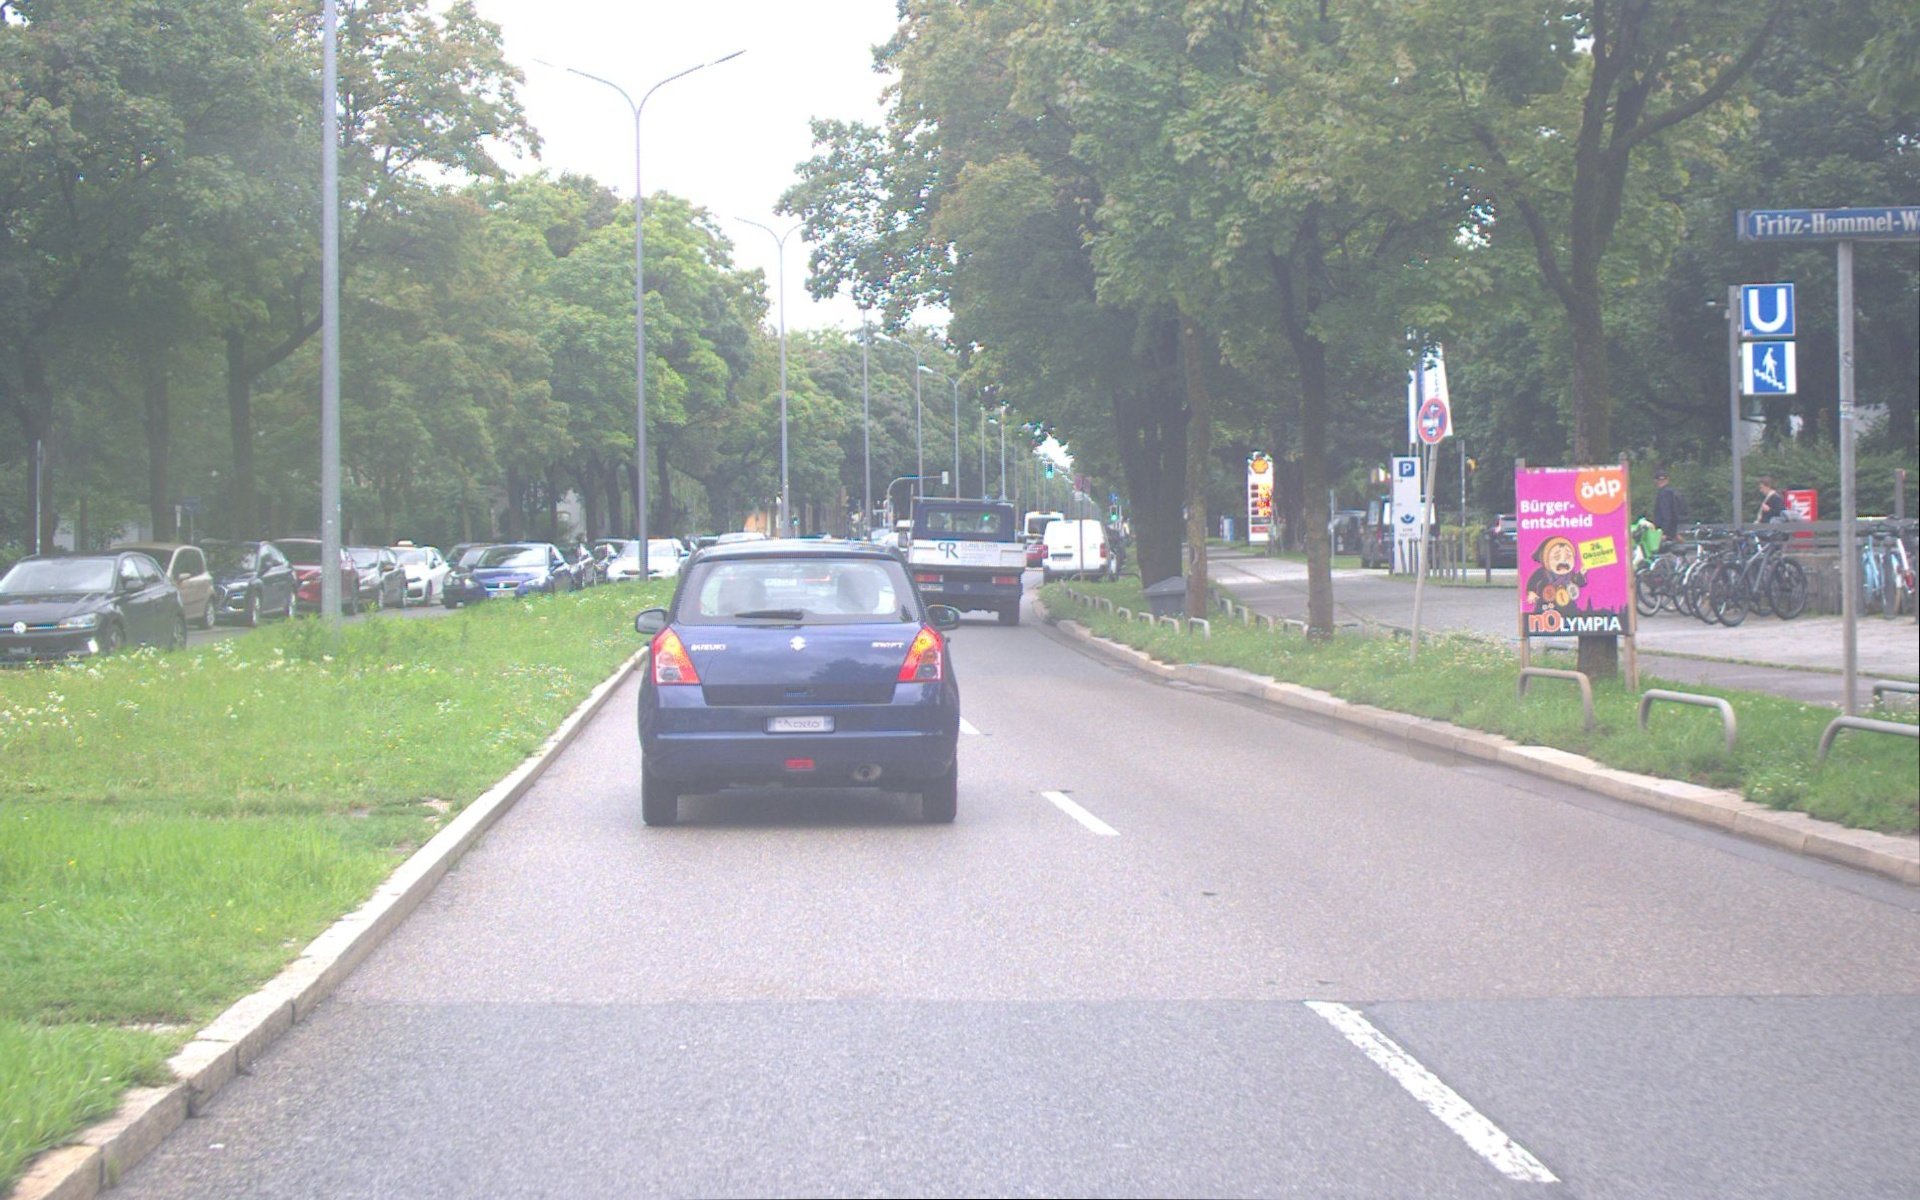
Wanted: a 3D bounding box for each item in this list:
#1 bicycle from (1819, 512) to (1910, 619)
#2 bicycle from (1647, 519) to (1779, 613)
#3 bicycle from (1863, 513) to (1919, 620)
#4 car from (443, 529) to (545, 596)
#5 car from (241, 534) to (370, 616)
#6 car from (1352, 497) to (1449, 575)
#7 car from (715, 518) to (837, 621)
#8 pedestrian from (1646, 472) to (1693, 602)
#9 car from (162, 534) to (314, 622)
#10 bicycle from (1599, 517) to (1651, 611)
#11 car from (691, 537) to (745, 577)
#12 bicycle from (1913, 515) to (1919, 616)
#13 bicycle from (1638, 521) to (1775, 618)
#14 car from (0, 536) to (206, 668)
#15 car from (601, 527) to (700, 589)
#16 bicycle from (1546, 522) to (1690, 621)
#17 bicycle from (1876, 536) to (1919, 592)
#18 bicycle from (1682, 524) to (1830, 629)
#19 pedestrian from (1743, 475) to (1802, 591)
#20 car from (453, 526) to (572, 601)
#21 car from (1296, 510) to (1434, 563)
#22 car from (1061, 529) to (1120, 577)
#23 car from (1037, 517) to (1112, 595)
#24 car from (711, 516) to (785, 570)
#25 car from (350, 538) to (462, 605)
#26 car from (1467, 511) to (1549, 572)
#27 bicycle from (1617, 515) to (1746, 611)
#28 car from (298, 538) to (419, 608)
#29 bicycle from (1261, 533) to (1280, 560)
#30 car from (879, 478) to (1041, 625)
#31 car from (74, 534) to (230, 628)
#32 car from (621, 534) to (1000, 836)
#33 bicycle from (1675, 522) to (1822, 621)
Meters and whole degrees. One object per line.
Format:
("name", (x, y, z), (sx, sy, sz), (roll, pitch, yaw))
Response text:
("bicycle", (10.334, -0.406, 39.329), (0.487, 1.185, 1.954), (-1, 1, 0))
("bicycle", (9.686, -0.439, 44.174), (1.949, 1.079, 0.597), (-5, 4, -42))
("bicycle", (10.855, -0.395, 39.347), (0.487, 1.185, 1.954), (-1, 1, 0))
("car", (-10.837, -0.892, 80.149), (1.691, 1.479, 3.967), (-1, 1, 2))
("car", (-13.853, -0.558, 73.023), (1.739, 1.646, 4.606), (1, 1, 1))
("car", (13.524, -1.981, 105.951), (2.265, 2.299, 6.268), (-1, 1, 1))
("car", (-2.879, -0.492, 53.308), (1.799, 1.494, 3.661), (-1, 1, -4))
("pedestrian", (10.492, -0.930, 50.824), (0.651, 1.893, 0.749), (-1, 1, 12))
("car", (-14.076, -0.456, 67.261), (1.739, 1.638, 4.684), (1, 1, 3))
("bicycle", (9.456, -0.524, 48.909), (0.530, 1.222, 1.861), (-3, 3, 7))
("car", (-10.083, -1.810, 143.448), (1.757, 1.589, 4.489), (2, 1, 2))
("bicycle", (11.437, -0.391, 39.339), (0.487, 1.185, 1.954), (-1, 1, 0))
("bicycle", (9.282, -0.382, 42.716), (1.949, 1.062, 0.580), (-5, 2, -42))
("car", (-10.001, -0.012, 39.292), (1.782, 1.401, 4.102), (-1, 1, 1))
("car", (-7.840, -1.086, 87.459), (1.915, 1.479, 4.865), (-1, 1, 2))
("bicycle", (8.814, -0.386, 46.027), (1.948, 1.185, 0.597), (-5, 3, -31))
("bicycle", (15.871, -0.607, 57.254), (0.682, 0.850, 1.835), (-1, 2, -2))
("bicycle", (9.329, -0.280, 40.231), (2.026, 1.095, 0.580), (-4, 1, -42))
("pedestrian", (12.090, -0.996, 51.172), (0.783, 1.708, 0.750), (-1, 1, 9))
("car", (-8.813, -0.746, 68.009), (1.691, 1.397, 3.967), (-1, 1, 2))
("car", (16.713, -2.616, 142.007), (5.470, 2.076, 2.147), (-1, 1, 2))
("car", (4.023, -1.442, 105.222), (1.702, 1.392, 4.232), (-1, 1, 3))
("car", (3.336, -1.287, 99.014), (1.987, 2.150, 5.555), (-1, 1, 3))
("car", (-6.575, -1.790, 106.947), (1.766, 1.619, 4.376), (-1, 1, 3))
("car", (-13.320, -0.701, 82.873), (1.739, 1.524, 4.475), (1, 1, 3))
("car", (16.922, -1.806, 106.347), (1.842, 1.812, 4.472), (-1, 1, 1))
("bicycle", (9.529, -0.492, 45.360), (1.949, 1.104, 0.580), (-7, 5, -42))
("car", (-13.619, -0.642, 78.006), (1.739, 1.477, 4.333), (2, 1, 3))
("bicycle", (13.764, -2.358, 152.352), (0.748, 1.179, 2.246), (-1, 1, 3))
("car", (0.054, -0.871, 60.125), (2.419, 2.435, 5.086), (1, 1, 4))
("car", (-14.484, -0.372, 61.796), (1.647, 1.608, 3.818), (1, 1, 4))
("car", (-0.758, 0.396, 19.211), (1.896, 1.494, 3.660), (-1, 1, 0))
("bicycle", (9.587, -0.351, 41.750), (2.035, 1.085, 0.604), (-4, 0, -42))
